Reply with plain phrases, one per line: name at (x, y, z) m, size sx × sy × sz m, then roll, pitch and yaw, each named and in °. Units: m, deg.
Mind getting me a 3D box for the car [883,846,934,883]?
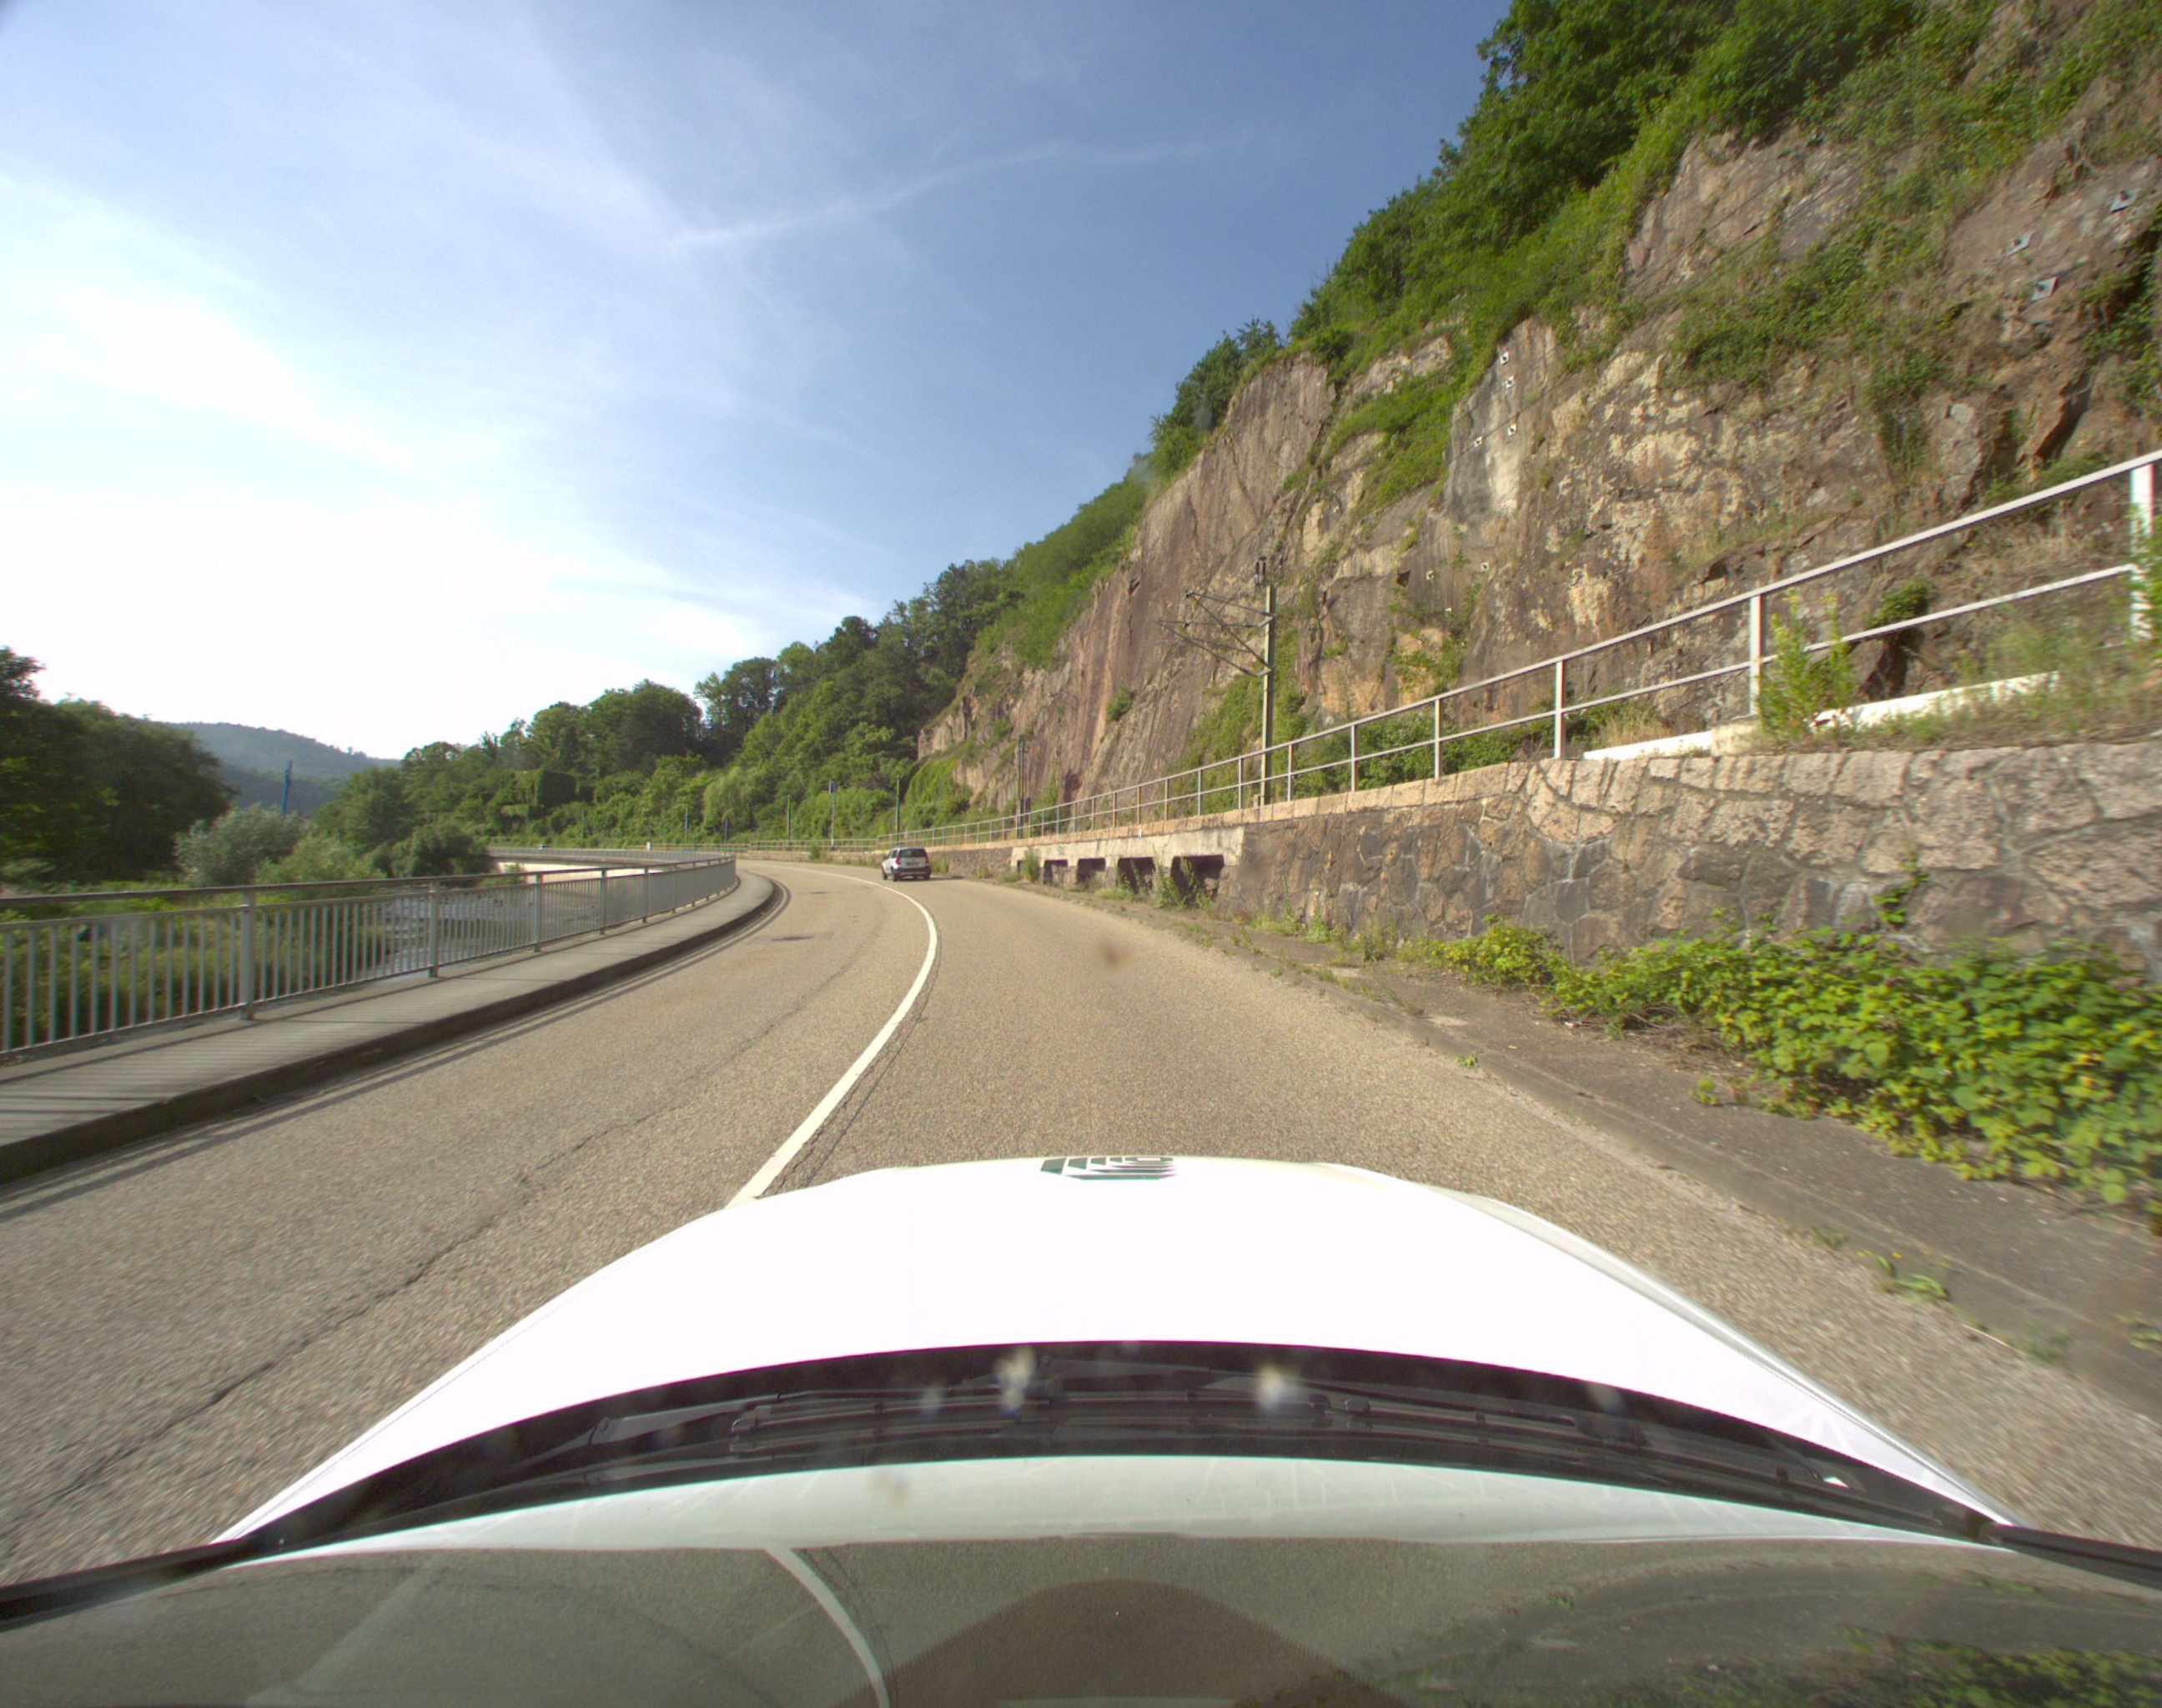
car at (-8.436, 0.470, 39.668) m, size 1.879 × 1.655 × 3.973 m, roll -1°, pitch 1°, yaw -20°
